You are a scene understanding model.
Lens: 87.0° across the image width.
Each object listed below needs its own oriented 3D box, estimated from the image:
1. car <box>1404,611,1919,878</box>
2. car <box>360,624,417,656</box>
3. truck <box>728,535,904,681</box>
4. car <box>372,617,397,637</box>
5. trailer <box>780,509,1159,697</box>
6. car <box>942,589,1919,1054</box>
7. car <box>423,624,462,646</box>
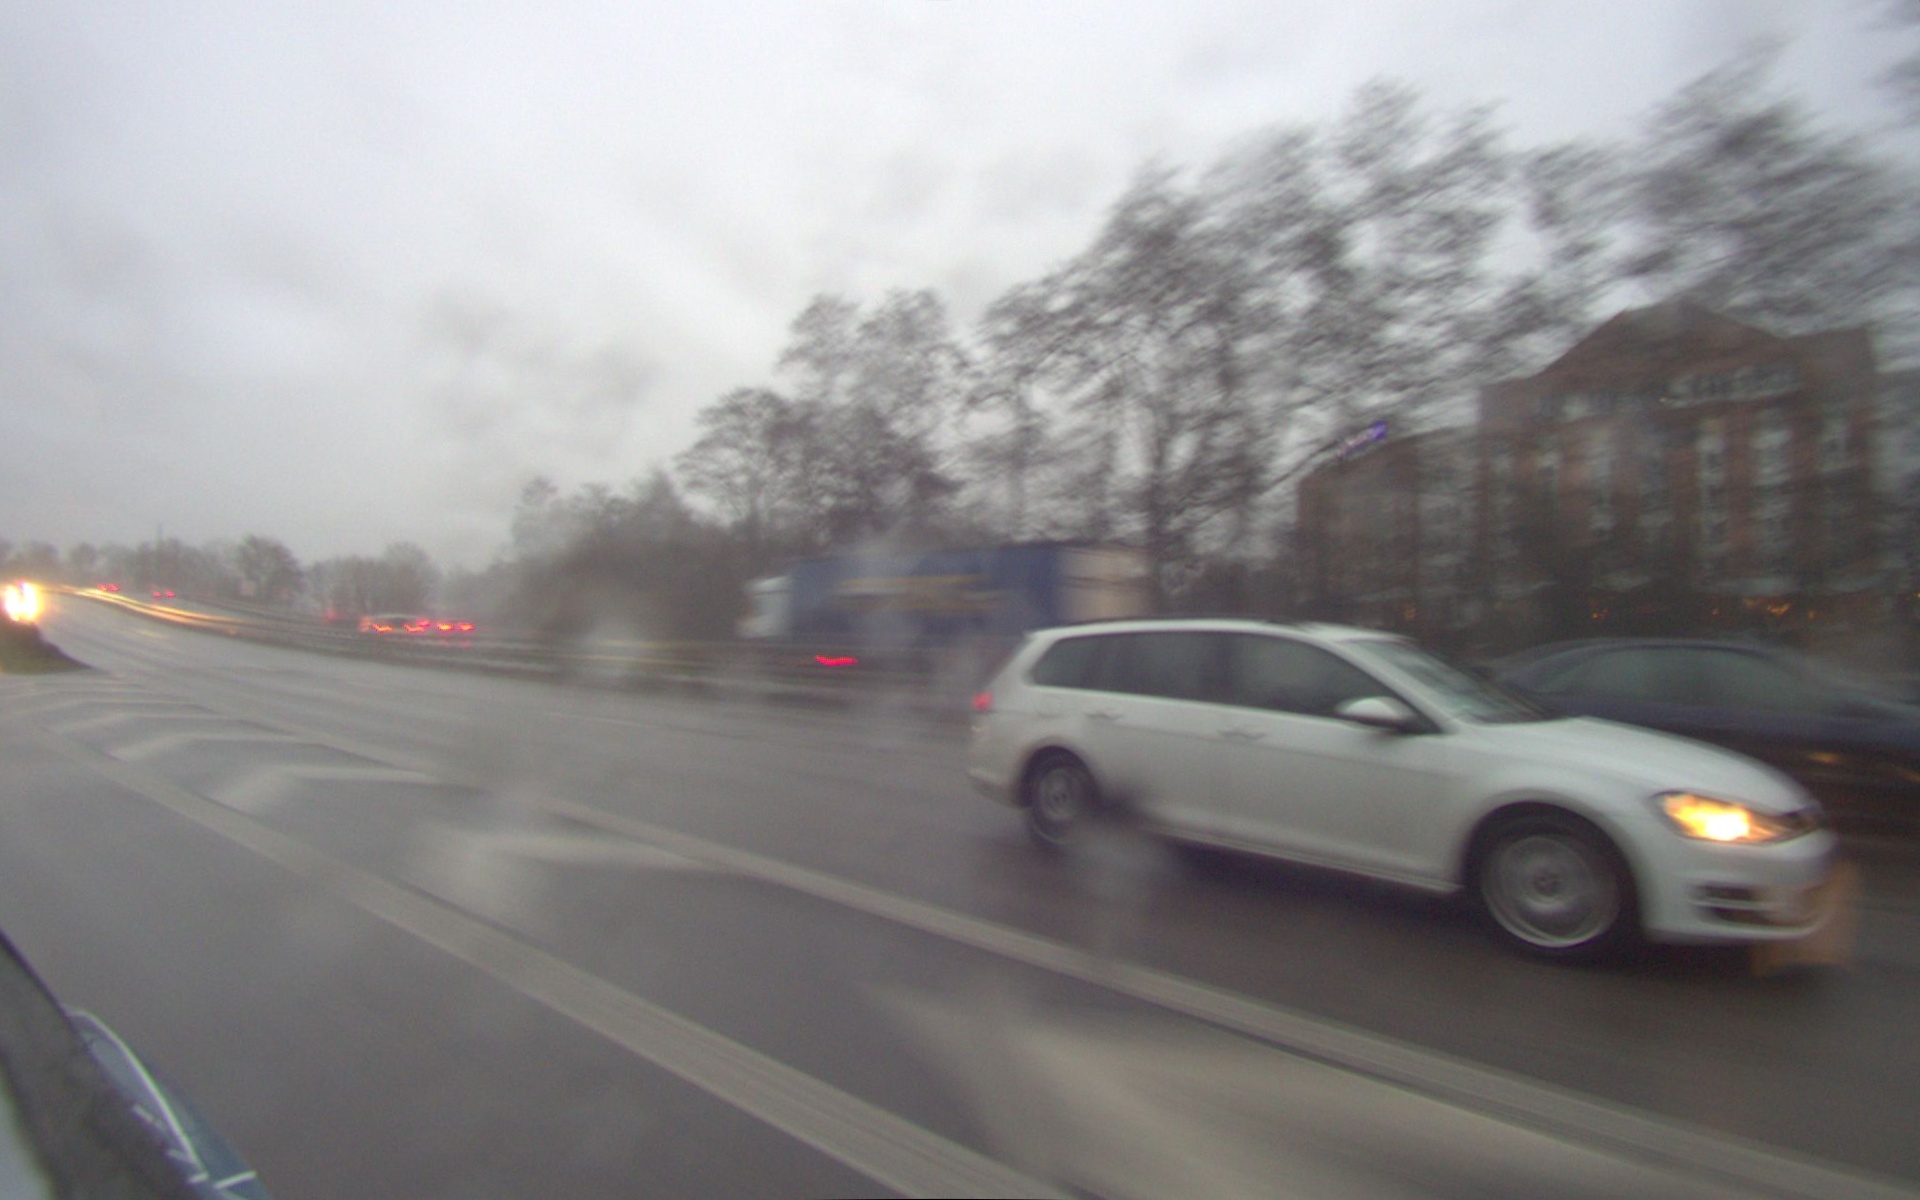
[{"bbox_3d":[5.779,0.893,6.940,1.755,1.546,4.706,4,-4,-44],"label":"car"},{"bbox_3d":[-29.841,2.075,52.797,1.681,1.576,4.045,-1,-1,-44],"label":"car"},{"bbox_3d":[-5.397,0.289,37.327,3.450,4.884,6.034,-1,0,-45],"label":"truck"},{"bbox_3d":[-58.400,2.725,102.621,1.886,2.029,4.010,-1,-1,-34],"label":"car"},{"bbox_3d":[-0.378,0.163,32.219,3.450,4.884,13.487,-1,0,-45],"label":"trailer"},{"bbox_3d":[2.247,0.811,5.648,4.790,1.532,1.925,-2,-3,45],"label":"car"},{"bbox_3d":[-36.781,2.467,71.903,1.441,1.577,3.654,1,-2,-44],"label":"car"}]
